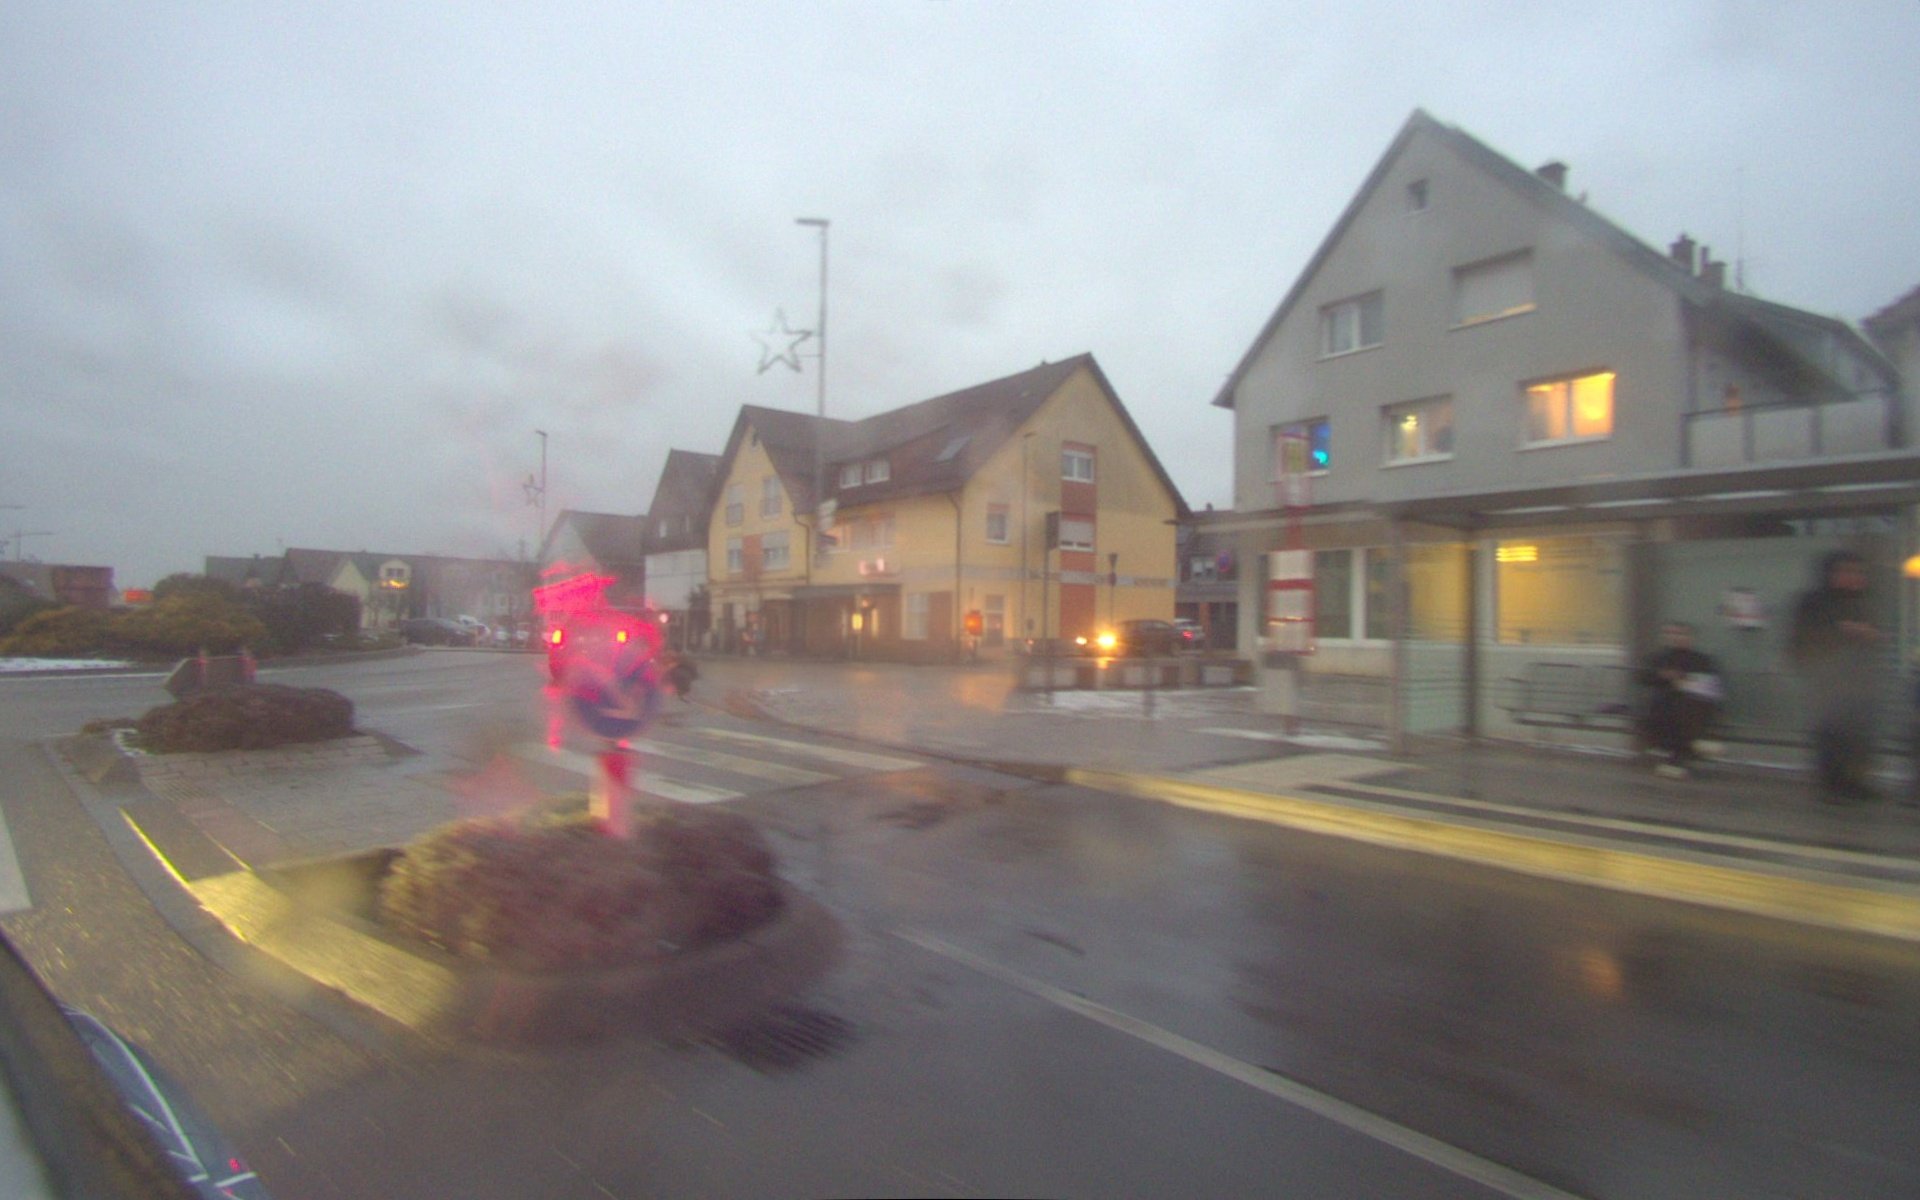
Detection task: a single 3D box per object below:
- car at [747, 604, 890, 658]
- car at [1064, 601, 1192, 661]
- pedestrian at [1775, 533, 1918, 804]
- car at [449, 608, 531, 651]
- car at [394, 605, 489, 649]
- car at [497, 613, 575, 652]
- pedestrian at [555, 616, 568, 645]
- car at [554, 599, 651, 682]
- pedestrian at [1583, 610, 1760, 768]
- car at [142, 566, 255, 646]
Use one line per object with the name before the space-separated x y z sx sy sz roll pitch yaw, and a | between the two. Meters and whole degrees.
car | -4.589 0.962 32.687 4.298 1.617 1.895 0 1 -18
car | 6.211 1.096 37.261 4.389 2.029 2.006 0 2 -32
pedestrian | 6.175 0.445 7.069 0.687 1.755 0.740 -2 -1 42
car | -24.418 1.495 52.576 3.954 2.029 1.908 1 2 28
car | -25.734 1.313 50.254 3.963 2.010 1.962 1 1 15
car | -22.965 1.734 54.793 3.854 1.895 1.917 1 2 28
pedestrian | -23.263 1.778 59.063 0.574 1.623 0.500 0 2 -44
car | -7.122 0.736 20.439 1.678 1.514 3.910 0 0 -17
pedestrian | 5.780 0.687 8.227 0.976 1.167 0.903 0 -2 -39
car | -20.789 0.090 27.805 2.024 2.001 4.551 0 2 -31
